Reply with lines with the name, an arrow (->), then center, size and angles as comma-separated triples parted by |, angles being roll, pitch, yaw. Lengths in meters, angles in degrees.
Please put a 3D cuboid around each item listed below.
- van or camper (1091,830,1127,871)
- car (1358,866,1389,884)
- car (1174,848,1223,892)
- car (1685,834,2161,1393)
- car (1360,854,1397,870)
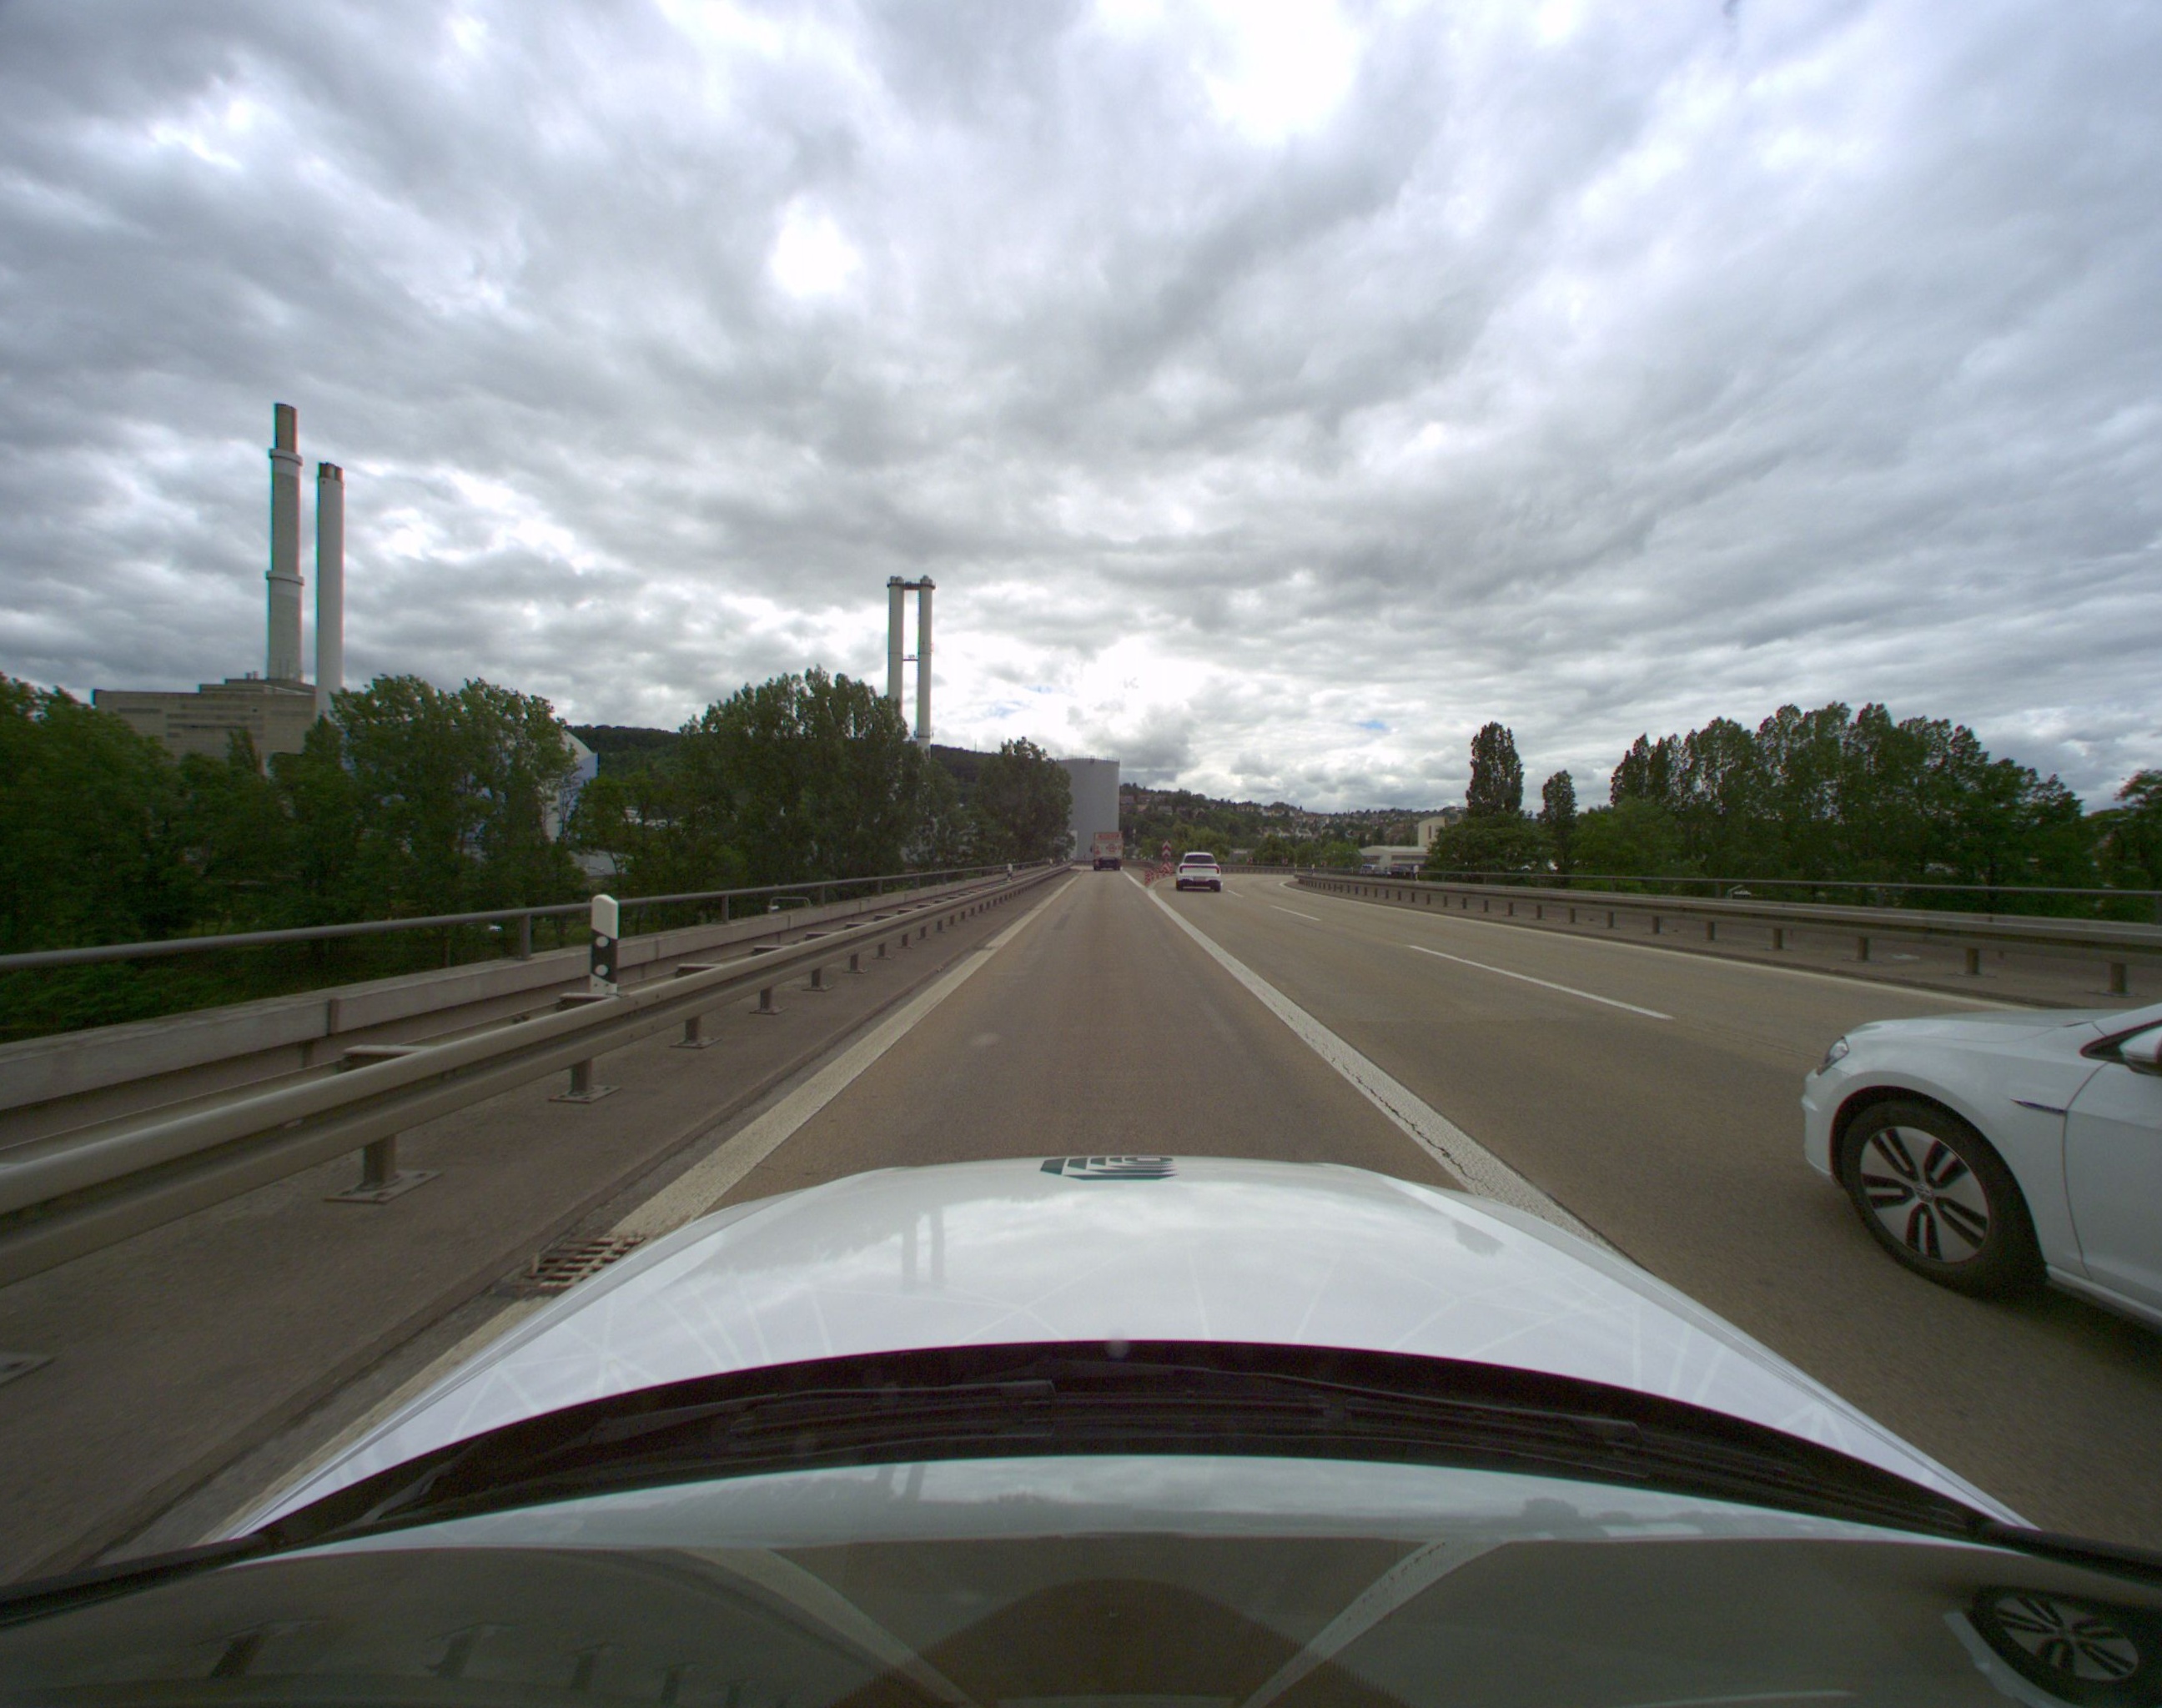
van or camper -> 2.548, -0.282, 77.211 | 3.111, 3.579, 8.550 | -1, 0, 1
car -> 31.605, 2.234, 87.974 | 1.905, 1.785, 4.139 | -1, 0, 39
car -> 5.124, 0.661, 35.948 | 1.915, 1.785, 4.119 | -1, 0, 5
car -> 3.705, 0.675, 1.792 | 1.748, 1.451, 4.072 | -2, 0, 1
car -> 34.683, 0.935, 95.005 | 4.127, 1.785, 1.911 | -1, 0, -31
